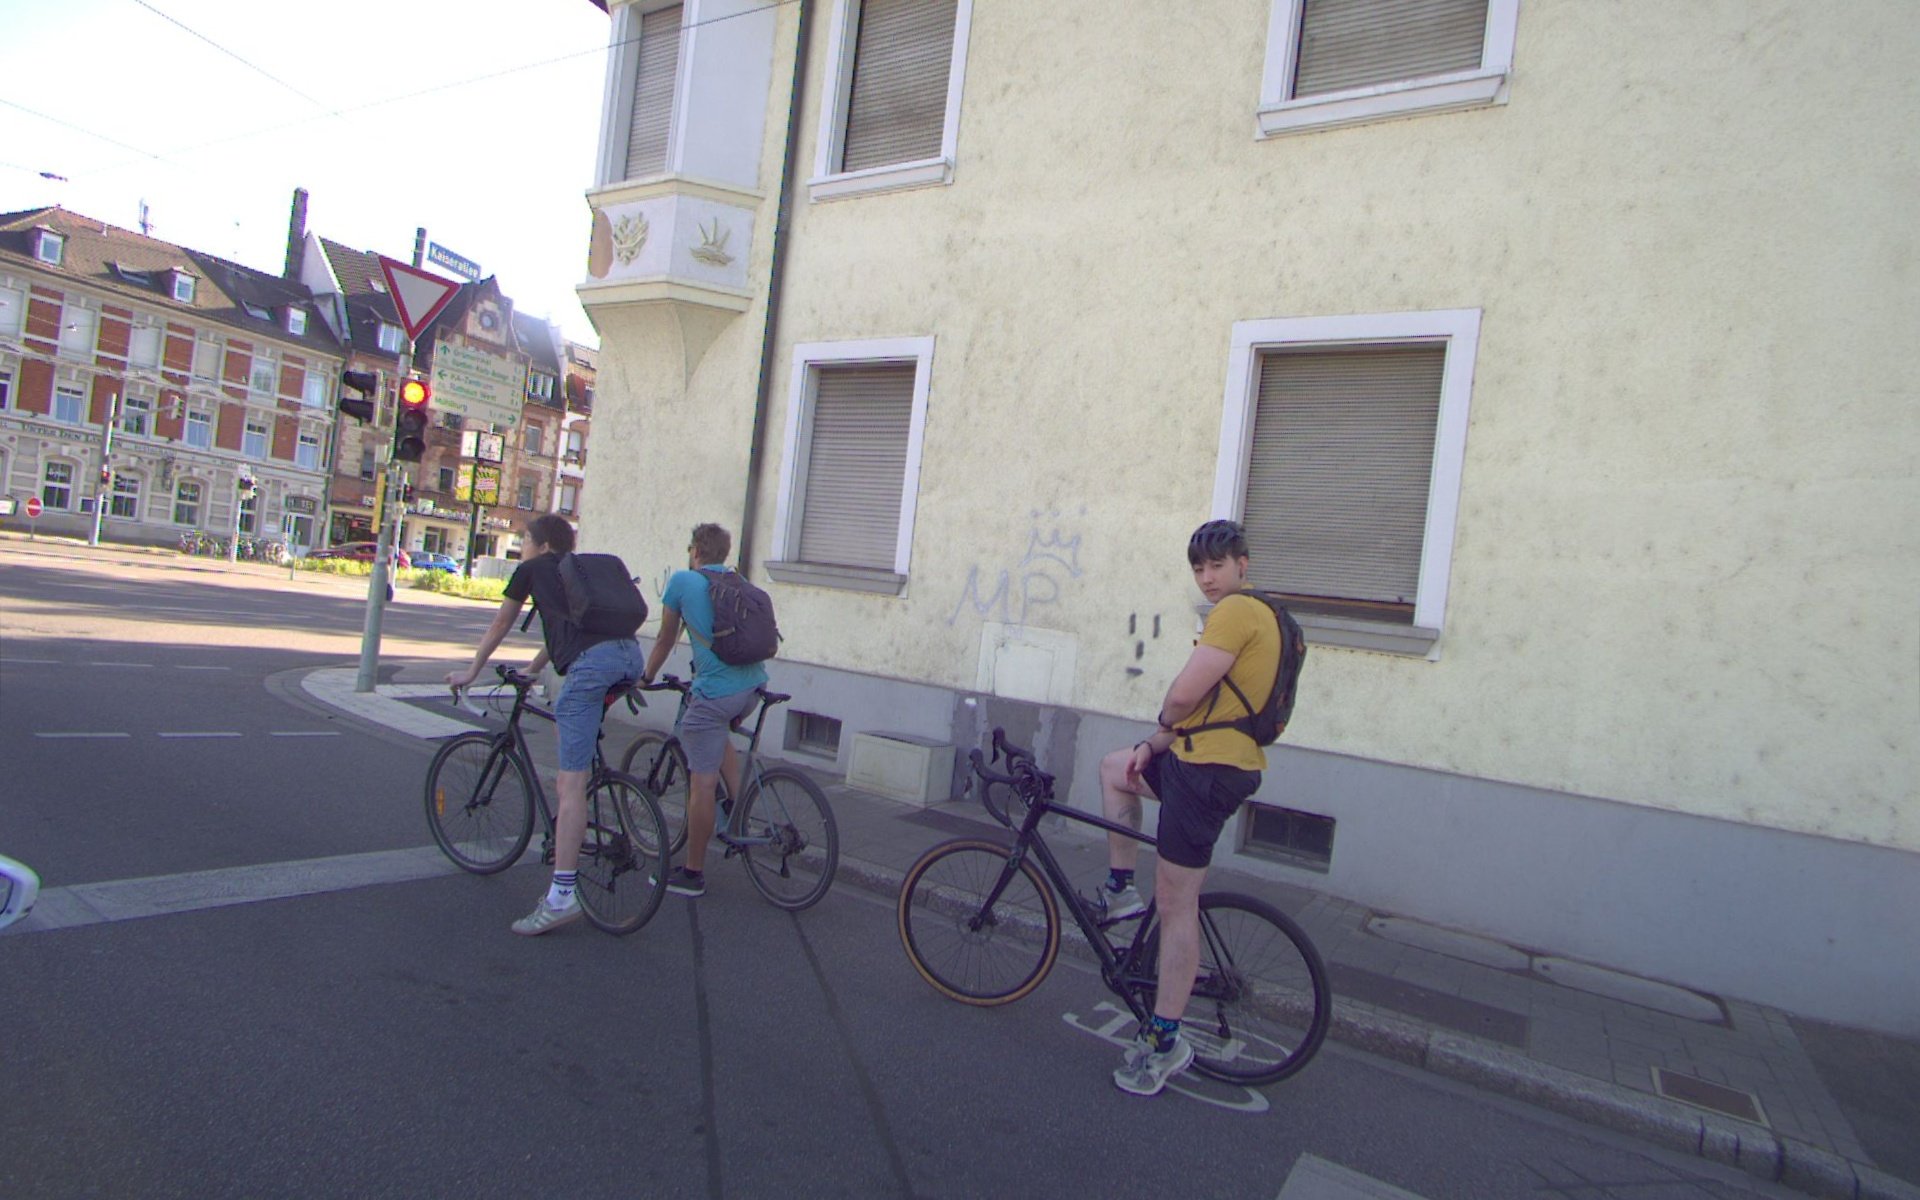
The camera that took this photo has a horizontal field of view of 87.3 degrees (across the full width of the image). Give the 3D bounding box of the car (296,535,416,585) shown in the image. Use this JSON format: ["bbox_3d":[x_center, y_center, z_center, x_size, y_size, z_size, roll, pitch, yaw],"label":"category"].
[{"bbox_3d":[-24.912,-1.640,41.619,1.569,1.443,3.876,7,-1,32],"label":"car"}]

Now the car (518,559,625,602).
[{"bbox_3d":[-19.584,-0.964,50.937,1.774,1.487,4.866,8,-1,32],"label":"car"}]

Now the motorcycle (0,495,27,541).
[{"bbox_3d":[-30.324,-2.660,30.959,0.785,1.349,2.136,6,-2,37],"label":"motorcycle"}]

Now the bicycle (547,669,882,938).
[{"bbox_3d":[-1.314,0.976,5.219,1.753,0.995,0.504,6,-1,32],"label":"bicycle"}]

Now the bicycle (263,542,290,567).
[{"bbox_3d":[-33.030,-2.206,48.591,0.789,1.027,2.186,8,-2,-39],"label":"bicycle"}]

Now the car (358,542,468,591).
[{"bbox_3d":[-25.436,-1.549,46.887,1.775,1.641,3.994,6,-2,33],"label":"car"}]

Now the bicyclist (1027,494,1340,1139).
[{"bbox_3d":[0.833,0.700,3.675,0.763,1.990,0.783,7,0,18],"label":"bicyclist"}]

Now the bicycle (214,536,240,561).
[{"bbox_3d":[-34.260,-2.417,47.020,0.762,0.995,2.186,8,-2,-39],"label":"bicycle"}]

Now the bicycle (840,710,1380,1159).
[{"bbox_3d":[0.556,1.115,3.787,1.709,1.119,0.783,7,-1,18],"label":"bicycle"}]

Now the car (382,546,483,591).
[{"bbox_3d":[-26.476,-1.540,50.599,1.775,1.641,3.994,6,-2,33],"label":"car"}]

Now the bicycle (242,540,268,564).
[{"bbox_3d":[-33.639,-2.309,48.001,0.762,1.019,2.196,8,-2,-39],"label":"bicycle"}]

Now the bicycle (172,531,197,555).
[{"bbox_3d":[-35.359,-2.609,45.873,0.762,0.974,2.186,8,-2,-39],"label":"bicycle"}]

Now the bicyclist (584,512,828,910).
[{"bbox_3d":[-1.332,0.530,5.265,0.960,1.868,0.504,6,-1,32],"label":"bicyclist"}]

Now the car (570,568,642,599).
[{"bbox_3d":[-22.993,-1.062,65.366,1.842,1.454,3.985,6,-2,35],"label":"car"}]

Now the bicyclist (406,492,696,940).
[{"bbox_3d":[-1.849,0.467,4.555,0.920,1.787,0.590,6,-1,32],"label":"bicyclist"}]

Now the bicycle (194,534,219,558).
[{"bbox_3d":[-34.757,-2.508,46.398,0.762,0.979,2.186,8,-2,-39],"label":"bicycle"}]

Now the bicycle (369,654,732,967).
[{"bbox_3d":[-1.898,0.862,4.552,1.753,1.003,0.482,6,-1,32],"label":"bicycle"}]
